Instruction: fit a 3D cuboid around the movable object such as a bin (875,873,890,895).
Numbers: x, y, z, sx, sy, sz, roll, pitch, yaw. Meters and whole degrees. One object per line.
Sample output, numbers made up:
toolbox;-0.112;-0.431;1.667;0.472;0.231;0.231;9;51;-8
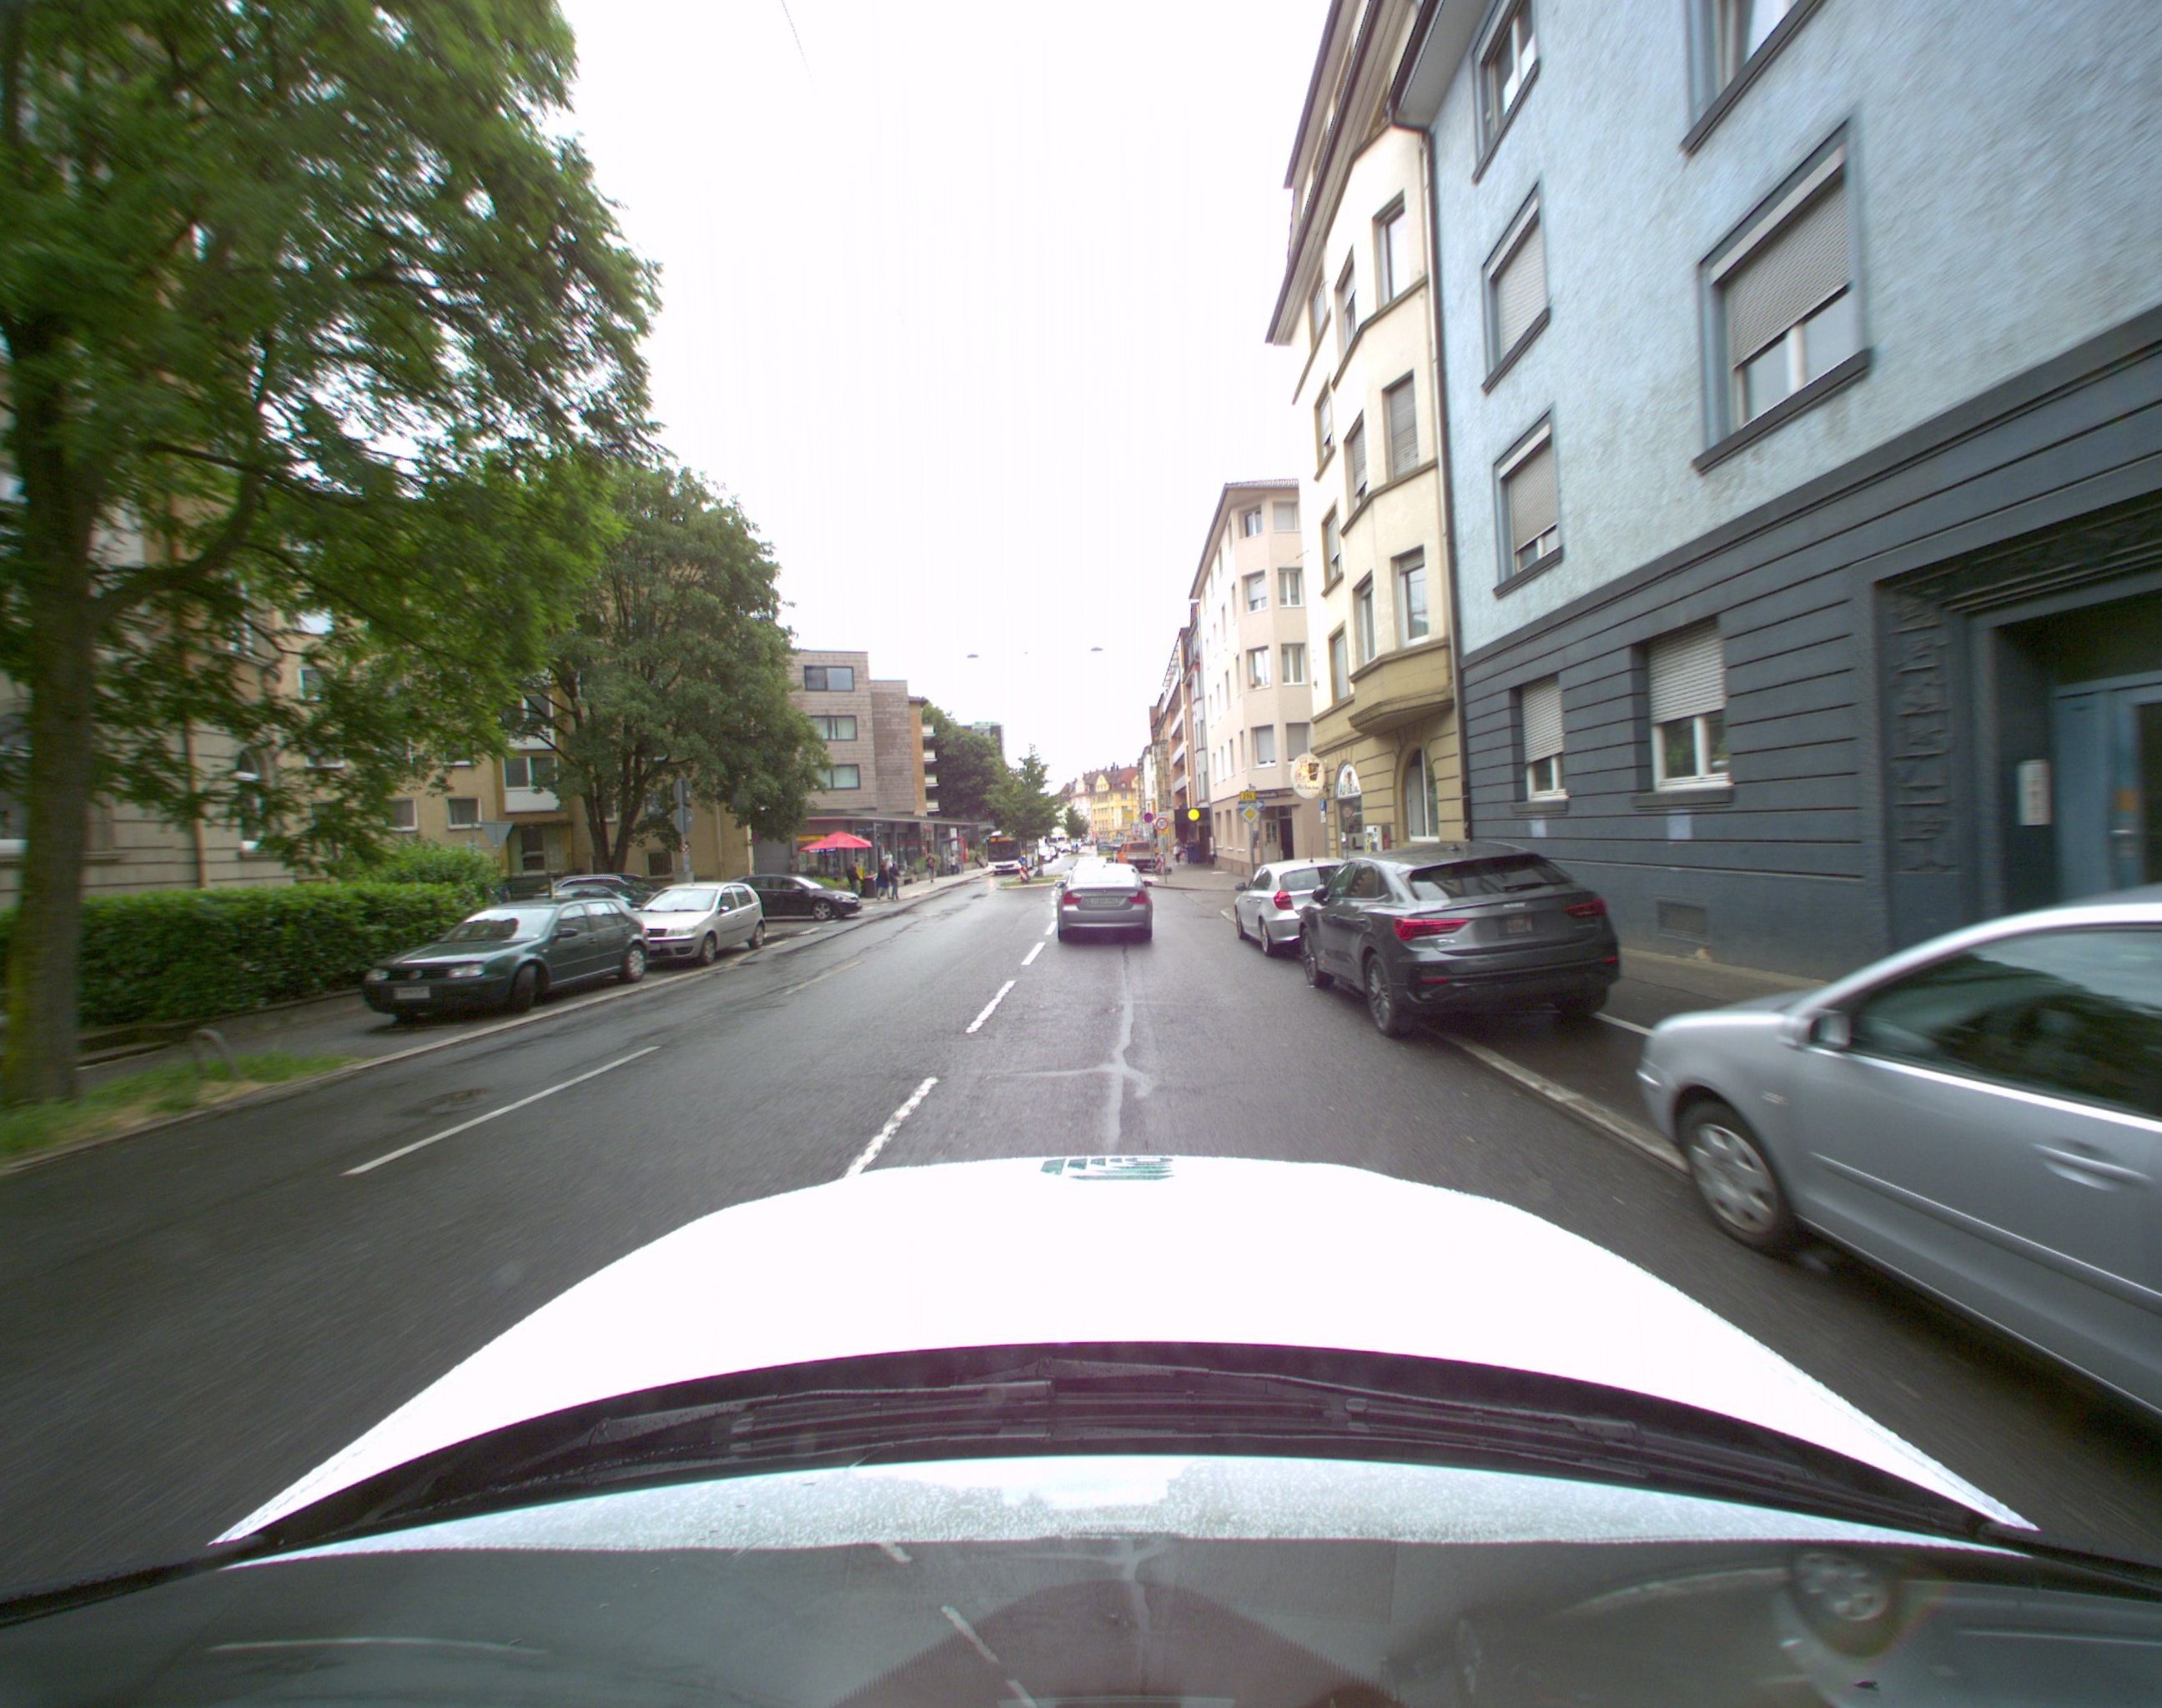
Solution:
movable object such as a bin;-10.042;1.518;41.214;0.488;1.081;0.606;-4;-1;2

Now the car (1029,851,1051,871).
car;-4.212;0.760;84.481;1.986;2.014;4.000;0;-1;1

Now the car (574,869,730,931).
car;-13.169;1.397;25.135;3.795;1.582;1.694;-3;1;1

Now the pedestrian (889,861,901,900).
pedestrian;-8.219;1.154;35.997;0.466;1.709;0.541;0;-1;-18

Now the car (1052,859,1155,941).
car;0.444;0.820;15.653;1.749;1.362;3.166;-2;-1;2

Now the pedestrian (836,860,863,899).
pedestrian;-10.716;1.189;37.721;1.061;1.731;0.712;-2;0;-8

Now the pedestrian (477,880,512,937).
pedestrian;-18.169;1.662;25.239;0.627;1.682;0.814;0;1;-18

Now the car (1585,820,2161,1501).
car;3.161;0.669;2.014;1.577;1.429;3.596;-6;0;2

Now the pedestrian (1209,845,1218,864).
pedestrian;8.453;0.022;51.850;0.411;1.203;0.357;-5;1;4

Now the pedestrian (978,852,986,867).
pedestrian;-9.133;0.492;75.401;0.617;1.378;0.545;0;-1;3

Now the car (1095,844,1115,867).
car;2.164;0.170;74.108;1.699;2.014;3.999;0;-1;0

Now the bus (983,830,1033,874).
bus;-5.650;-0.068;65.193;2.671;3.201;11.957;0;-1;1

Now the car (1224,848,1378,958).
car;3.537;0.712;13.802;1.563;1.464;4.091;-5;0;3

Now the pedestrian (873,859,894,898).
pedestrian;-8.929;1.095;36.834;0.742;1.709;0.676;-5;0;-19

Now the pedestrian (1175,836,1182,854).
pedestrian;9.121;-0.832;76.098;0.611;1.661;0.756;0;-1;8

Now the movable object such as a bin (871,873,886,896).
movable object such as a bin;-10.086;1.511;40.533;0.488;1.081;0.606;-4;-1;2

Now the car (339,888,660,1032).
car;-7.924;1.345;11.633;1.648;1.454;3.942;-3;0;0

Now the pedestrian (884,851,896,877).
pedestrian;-12.955;0.684;55.216;0.662;1.706;0.655;0;-1;-23

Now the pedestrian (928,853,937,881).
pedestrian;-9.398;0.841;51.648;0.543;1.790;0.464;0;-1;-11

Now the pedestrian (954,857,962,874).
pedestrian;-9.250;0.851;61.209;0.463;1.230;0.545;0;-1;3

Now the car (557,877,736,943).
car;-11.546;1.469;21.795;3.798;1.389;1.745;-3;1;4

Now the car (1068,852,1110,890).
car;0.296;0.683;32.417;1.597;1.420;3.287;0;-1;0

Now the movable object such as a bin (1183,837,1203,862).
movable object such as a bin;8.065;-0.307;58.609;1.119;1.702;1.433;-4;-1;0

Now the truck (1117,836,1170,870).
truck;4.031;-0.036;53.207;2.217;2.117;4.633;1;-1;-12

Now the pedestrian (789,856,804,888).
pedestrian;-16.620;1.028;47.587;0.637;1.816;0.632;-3;1;-27

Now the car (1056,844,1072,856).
car;-2.827;-0.647;135.110;1.983;2.014;4.008;0;-1;7

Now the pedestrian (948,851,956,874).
pedestrian;-9.370;0.614;59.331;0.542;1.709;0.465;0;-1;-5

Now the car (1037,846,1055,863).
car;-4.318;0.049;101.470;1.986;2.014;4.000;-2;-1;1

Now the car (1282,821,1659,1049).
car;3.426;0.608;8.225;1.811;1.557;4.296;-5;0;3

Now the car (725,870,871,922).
car;-8.597;1.256;24.941;3.802;1.390;1.743;-2;-1;1

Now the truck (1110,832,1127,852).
truck;5.030;-1.557;110.451;2.209;2.544;4.781;0;-1;1

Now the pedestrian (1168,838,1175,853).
pedestrian;8.884;-0.856;79.524;0.560;1.421;0.799;-1;-1;15

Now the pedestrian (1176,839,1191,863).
pedestrian;7.153;-0.228;56.978;0.758;1.661;0.744;1;-2;-38

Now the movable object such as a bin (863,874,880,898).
movable object such as a bin;-10.169;1.552;39.560;0.551;1.081;0.731;-4;-1;2

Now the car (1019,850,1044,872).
car;-4.711;0.648;77.638;1.986;2.014;4.000;-1;-1;1

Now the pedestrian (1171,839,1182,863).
pedestrian;6.810;-0.216;58.278;0.745;1.661;0.839;0;-1;8

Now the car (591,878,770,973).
car;-7.633;1.279;15.962;1.627;1.454;3.837;-3;0;-2

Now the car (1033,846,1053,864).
car;-4.213;0.138;91.052;1.986;2.014;4.000;0;-1;1
